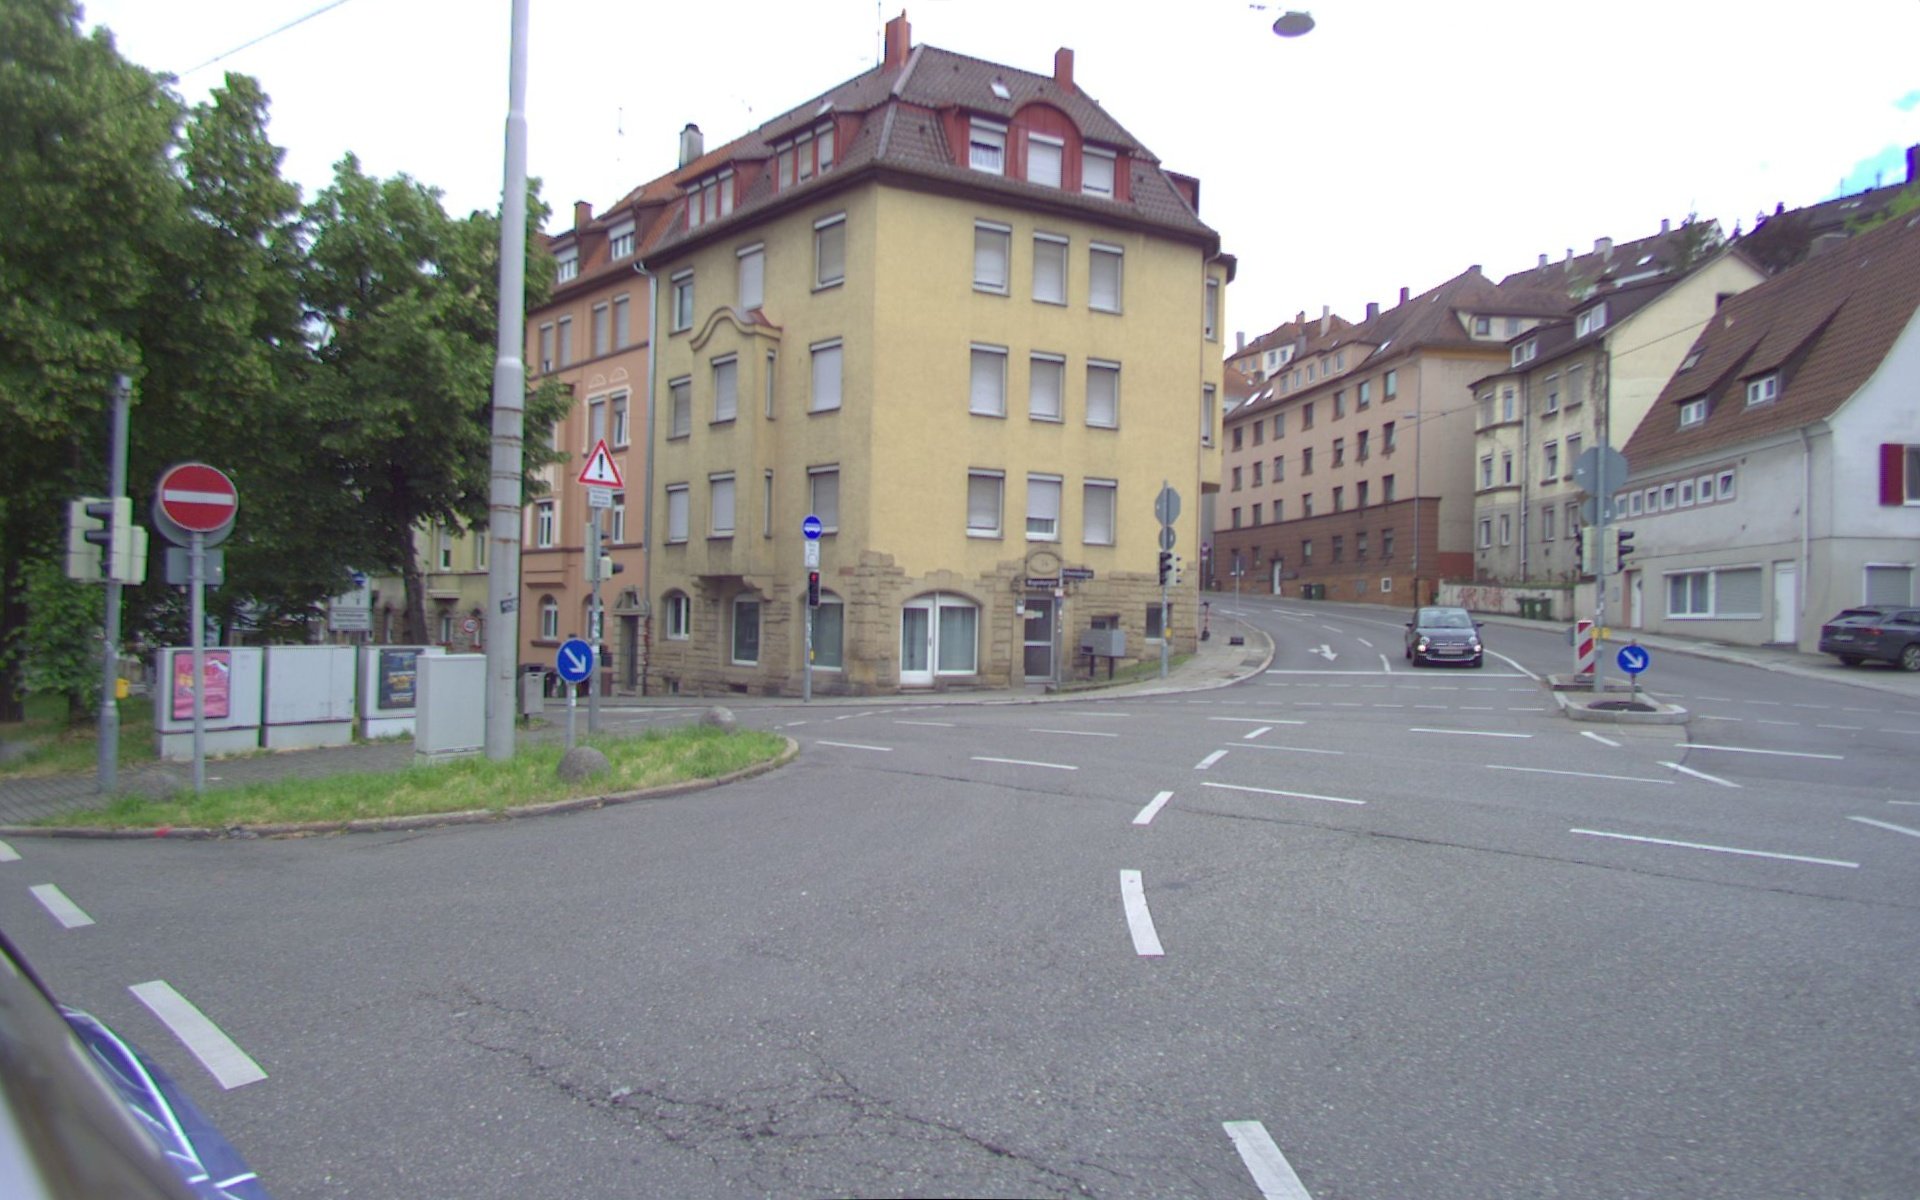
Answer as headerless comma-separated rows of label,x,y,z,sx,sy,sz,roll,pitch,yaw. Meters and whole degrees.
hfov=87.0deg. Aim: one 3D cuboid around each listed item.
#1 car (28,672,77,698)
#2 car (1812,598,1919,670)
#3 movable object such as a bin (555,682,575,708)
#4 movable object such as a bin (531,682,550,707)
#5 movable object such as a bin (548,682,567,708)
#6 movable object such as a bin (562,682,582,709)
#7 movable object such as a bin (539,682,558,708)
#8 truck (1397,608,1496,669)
car,-61.438,5.759,68.467,4.515,1.647,1.917,-4,-4,41
car,22.749,0.743,23.641,4.239,1.476,1.683,-2,2,0
movable object such as a bin,-13.305,3.191,34.087,0.480,0.871,0.449,2,-5,-43
movable object such as a bin,-14.663,3.294,35.336,0.480,0.871,0.449,2,-5,-43
movable object such as a bin,-13.736,3.226,34.520,0.480,0.871,0.449,2,-5,-43
movable object such as a bin,-12.863,3.150,33.571,0.480,0.871,0.449,2,-5,-43
movable object such as a bin,-14.177,3.256,34.880,0.480,0.871,0.449,2,-5,-43
truck,12.670,0.998,26.590,1.838,1.429,3.974,-3,-2,19
